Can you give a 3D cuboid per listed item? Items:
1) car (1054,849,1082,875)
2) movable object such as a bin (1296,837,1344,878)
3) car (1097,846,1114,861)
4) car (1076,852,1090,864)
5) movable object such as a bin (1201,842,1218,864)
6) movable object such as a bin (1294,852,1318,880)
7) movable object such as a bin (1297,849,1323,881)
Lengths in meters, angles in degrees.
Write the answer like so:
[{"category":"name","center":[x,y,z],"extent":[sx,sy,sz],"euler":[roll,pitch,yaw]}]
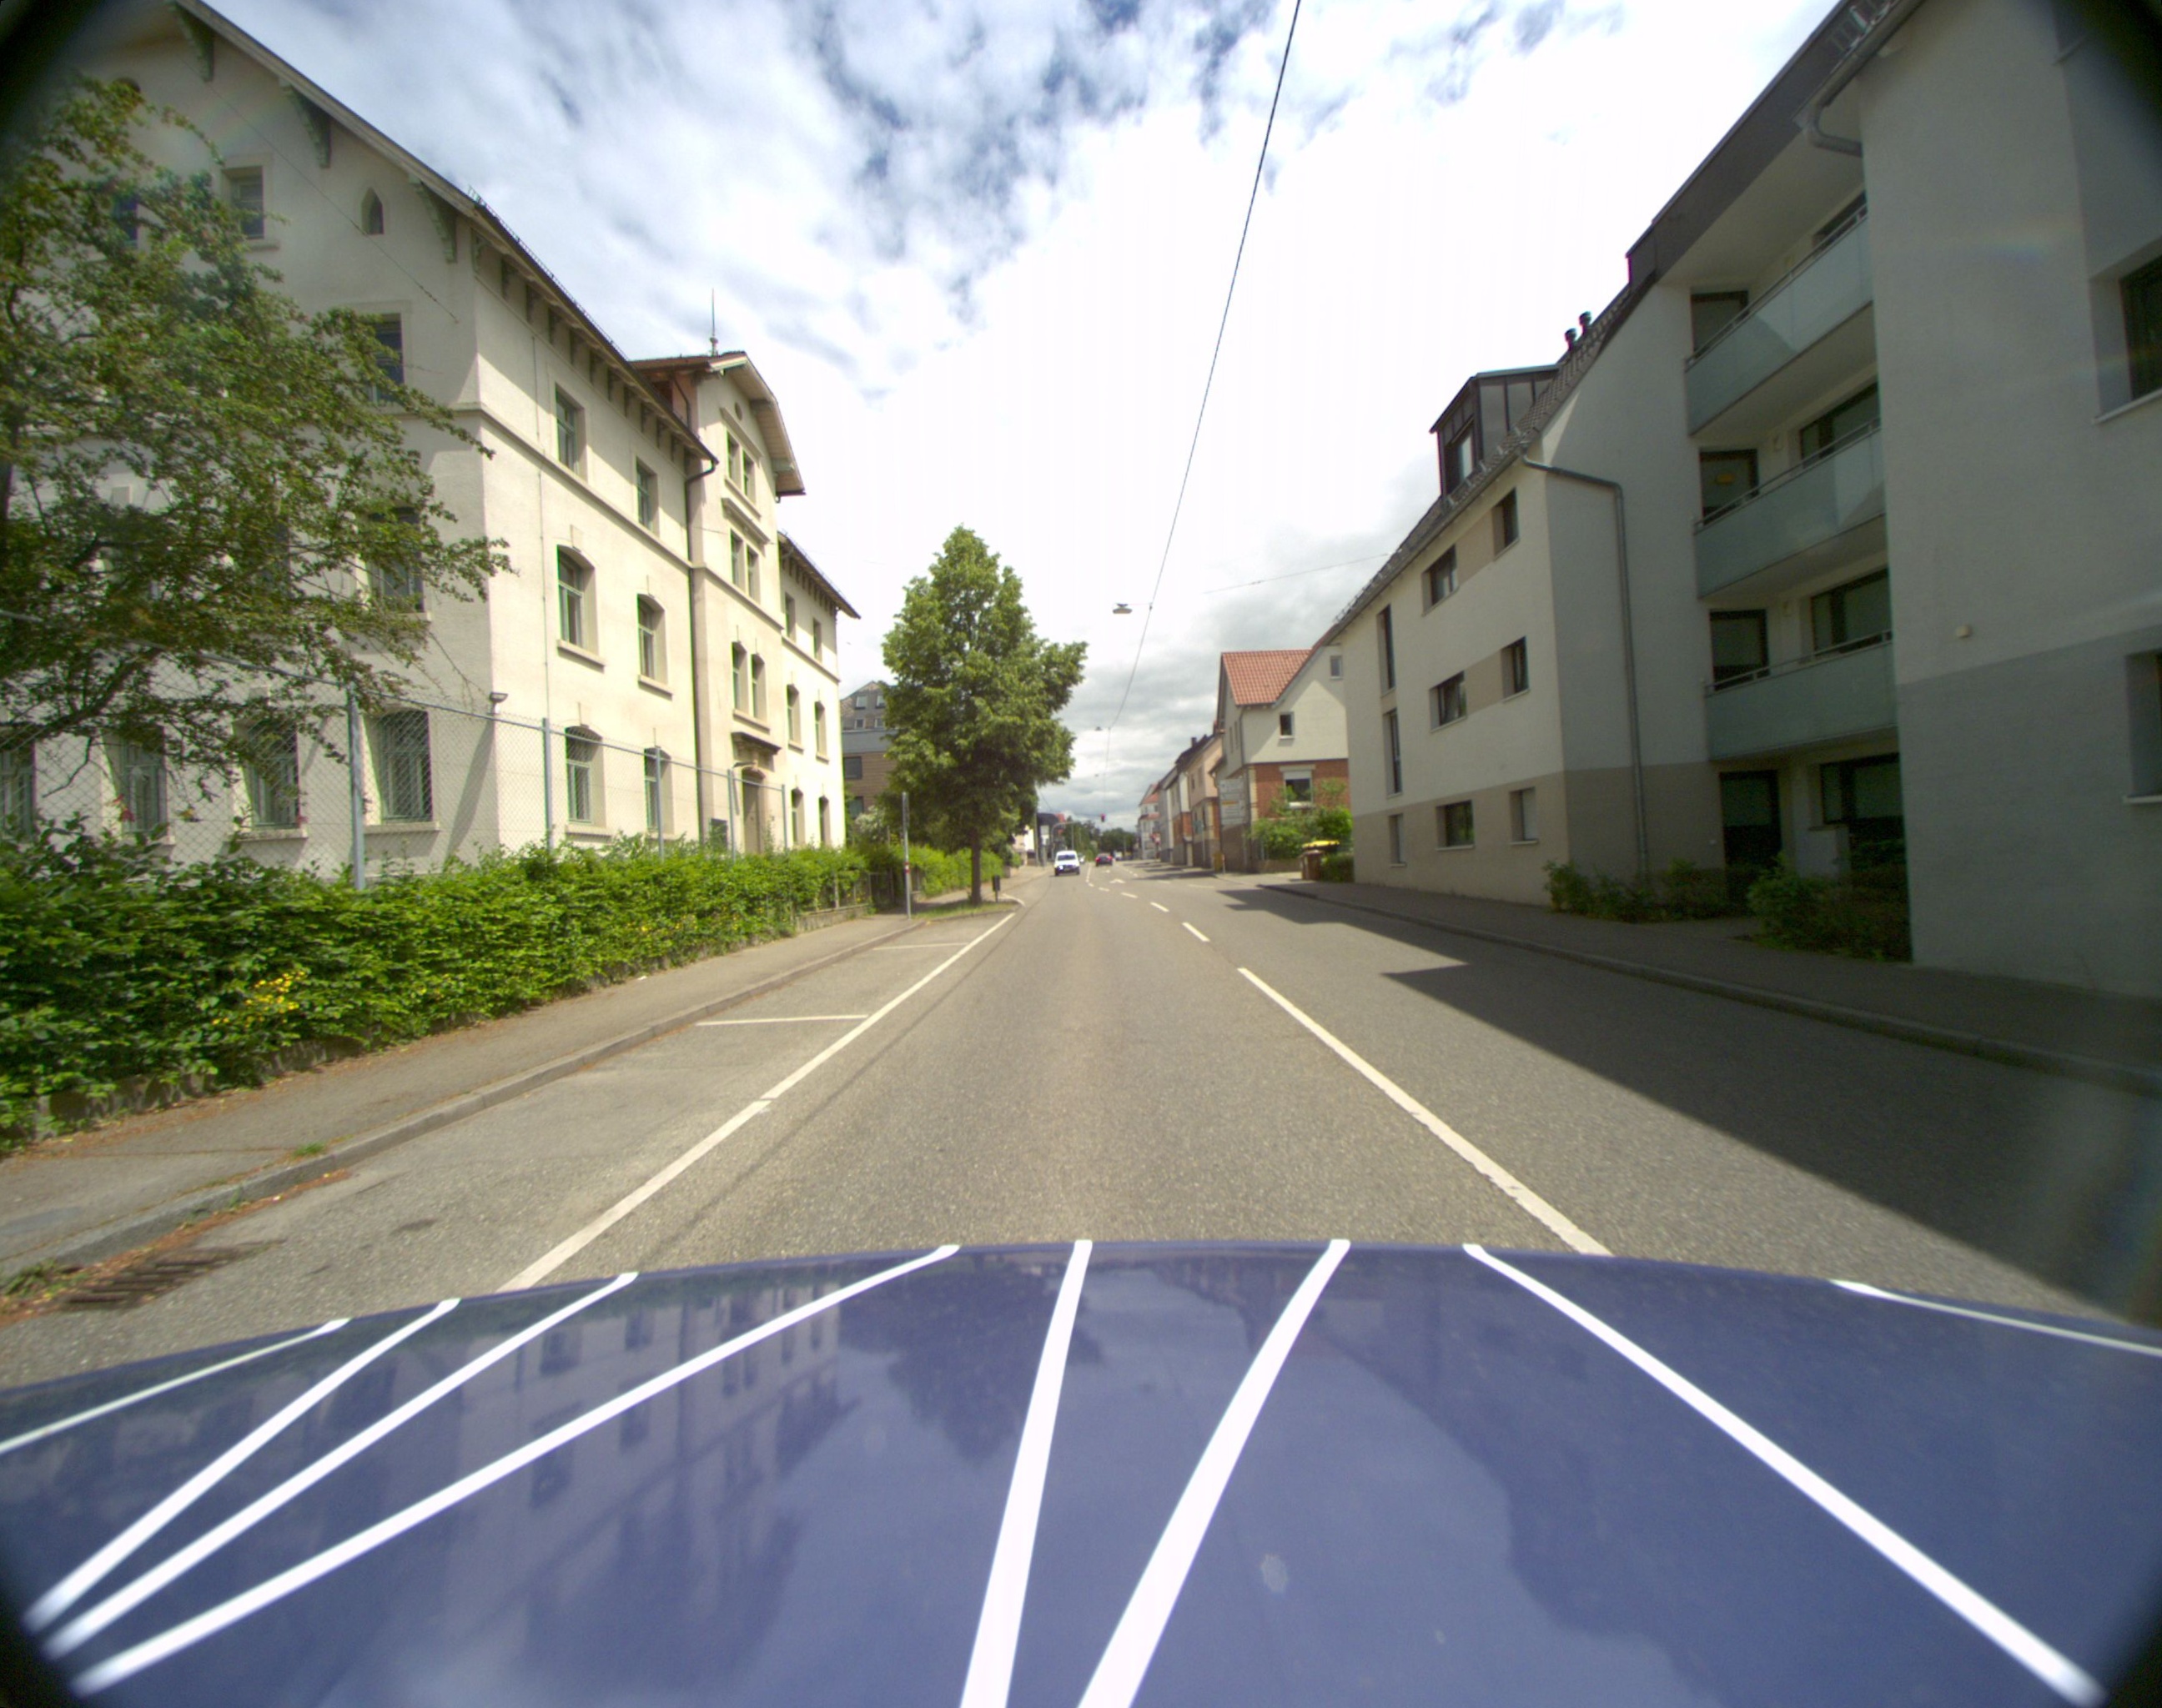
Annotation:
[{"category":"car","center":[-0.937,0.548,56.882],"extent":[1.893,1.718,4.293],"euler":[-3,1,1]},{"category":"movable object such as a bin","center":[8.983,0.138,28.579],"extent":[1.338,1.438,1.170],"euler":[-3,1,-3]},{"category":"car","center":[2.727,-0.048,85.809],"extent":[1.795,1.477,4.000],"euler":[-4,0,1]},{"category":"car","center":[0.293,0.498,102.720],"extent":[1.795,1.477,4.000],"euler":[-4,0,1]},{"category":"movable object such as a bin","center":[7.551,-0.062,44.751],"extent":[0.766,1.155,0.802],"euler":[-5,3,0]},{"category":"movable object such as a bin","center":[8.254,0.439,27.846],"extent":[0.642,0.995,0.657],"euler":[-3,1,0]},{"category":"movable object such as a bin","center":[8.158,0.384,27.098],"extent":[0.642,1.069,0.660],"euler":[-3,1,-2]}]
